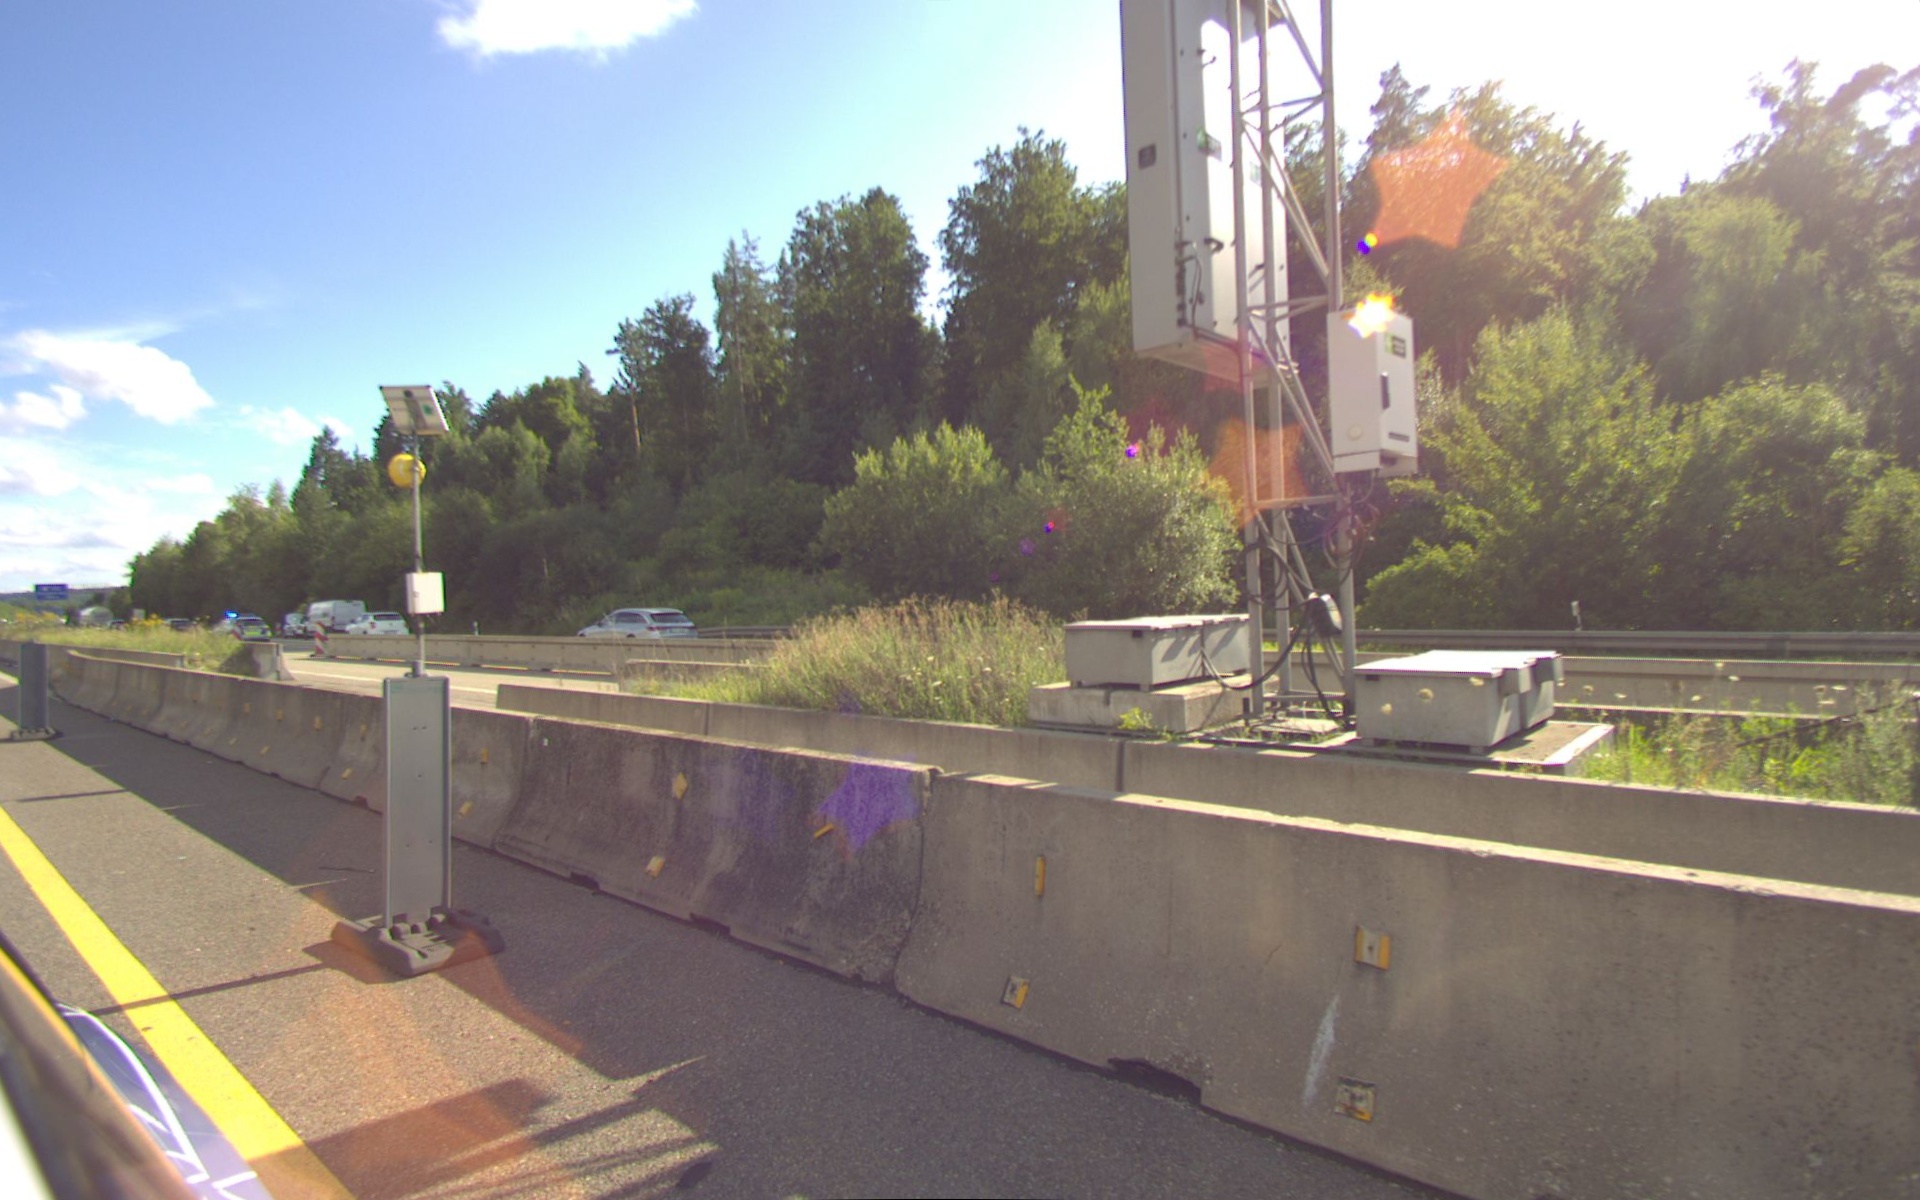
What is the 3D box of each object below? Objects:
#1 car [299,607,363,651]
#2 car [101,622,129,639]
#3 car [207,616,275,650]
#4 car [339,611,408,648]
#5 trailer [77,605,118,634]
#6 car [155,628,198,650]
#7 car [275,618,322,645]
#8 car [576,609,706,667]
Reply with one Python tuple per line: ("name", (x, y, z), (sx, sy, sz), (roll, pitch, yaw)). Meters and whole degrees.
("car", (-41.167, 1.886, 66.177), (6.524, 2.705, 2.005), (-1, -1, 44))
("car", (-88.436, 3.182, 105.920), (4.018, 1.614, 1.758), (-1, 0, 44))
("car", (-36.821, 1.665, 51.760), (4.673, 1.614, 1.760), (-1, 0, 41))
("car", (-27.874, 1.384, 48.063), (4.018, 1.614, 1.758), (-1, 0, 44))
("trailer", (-109.646, 2.458, 128.632), (11.113, 3.516, 2.771), (-1, -1, 43))
("car", (-63.094, 3.118, 81.488), (4.481, 1.600, 1.937), (-1, 0, 42))
("car", (-48.156, 2.255, 73.651), (4.762, 1.867, 1.840), (-1, 0, 44))
("car", (-9.851, 1.121, 31.025), (4.677, 1.614, 1.758), (-1, 0, 44))
